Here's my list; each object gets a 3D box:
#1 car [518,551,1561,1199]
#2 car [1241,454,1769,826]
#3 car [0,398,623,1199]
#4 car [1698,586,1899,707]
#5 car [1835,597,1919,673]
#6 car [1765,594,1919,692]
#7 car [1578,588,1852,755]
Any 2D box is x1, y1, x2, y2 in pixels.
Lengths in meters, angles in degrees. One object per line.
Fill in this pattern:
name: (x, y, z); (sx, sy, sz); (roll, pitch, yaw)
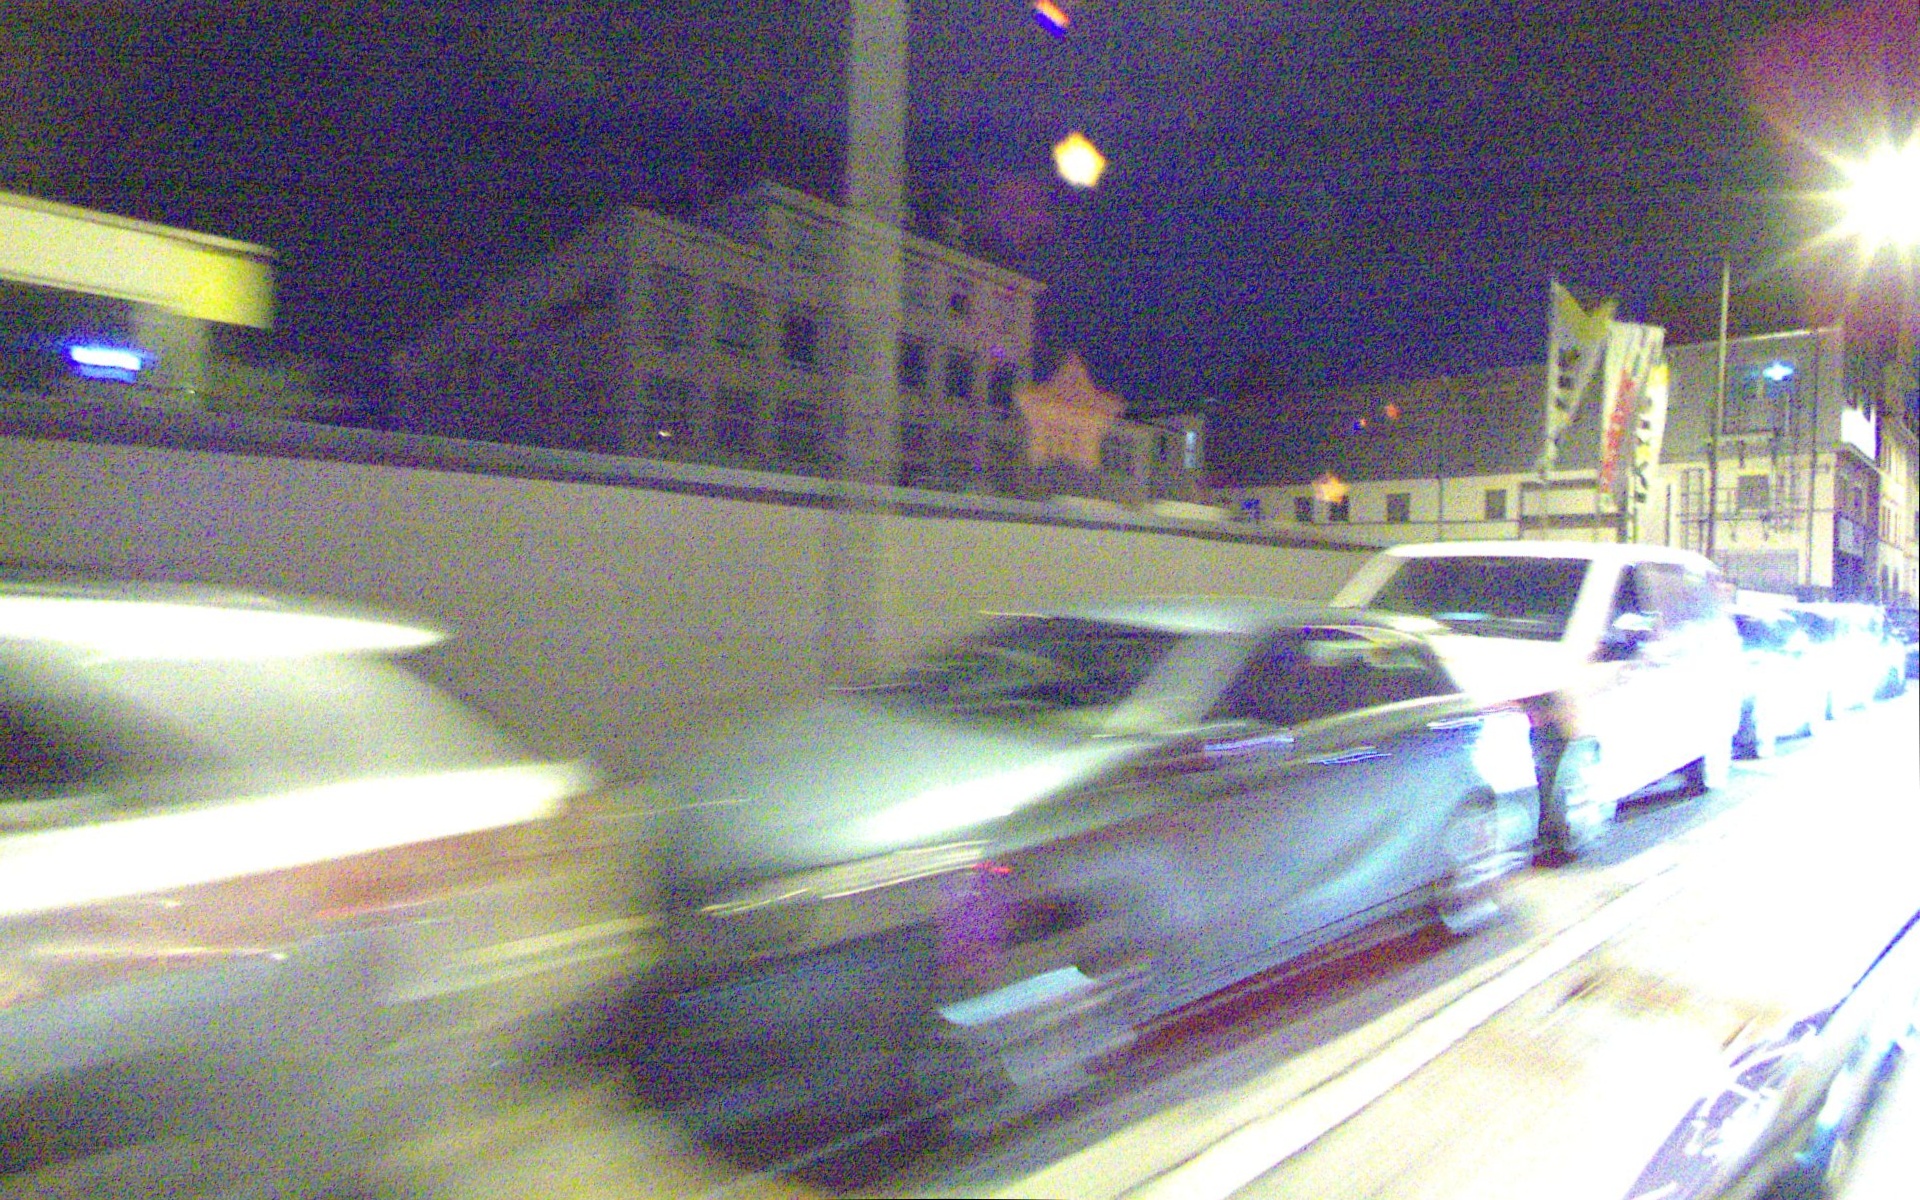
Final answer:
car: (0.611, 0.596, 4.148); (4.113, 1.445, 1.821); (0, 2, -39)
car: (4.197, 0.159, 7.388); (4.690, 1.898, 1.804); (0, 3, -41)
car: (-3.009, 0.471, 1.284); (4.549, 1.608, 1.826); (0, 2, -42)
car: (11.951, 0.553, 14.348); (3.654, 1.485, 1.598); (-1, 1, -41)
car: (20.522, 0.703, 21.870); (4.402, 1.444, 1.782); (-1, 1, -40)
car: (15.446, 0.648, 17.498); (3.825, 1.444, 1.781); (-1, 1, -42)
car: (8.345, 0.630, 11.072); (3.823, 1.485, 1.598); (-1, 1, -41)
